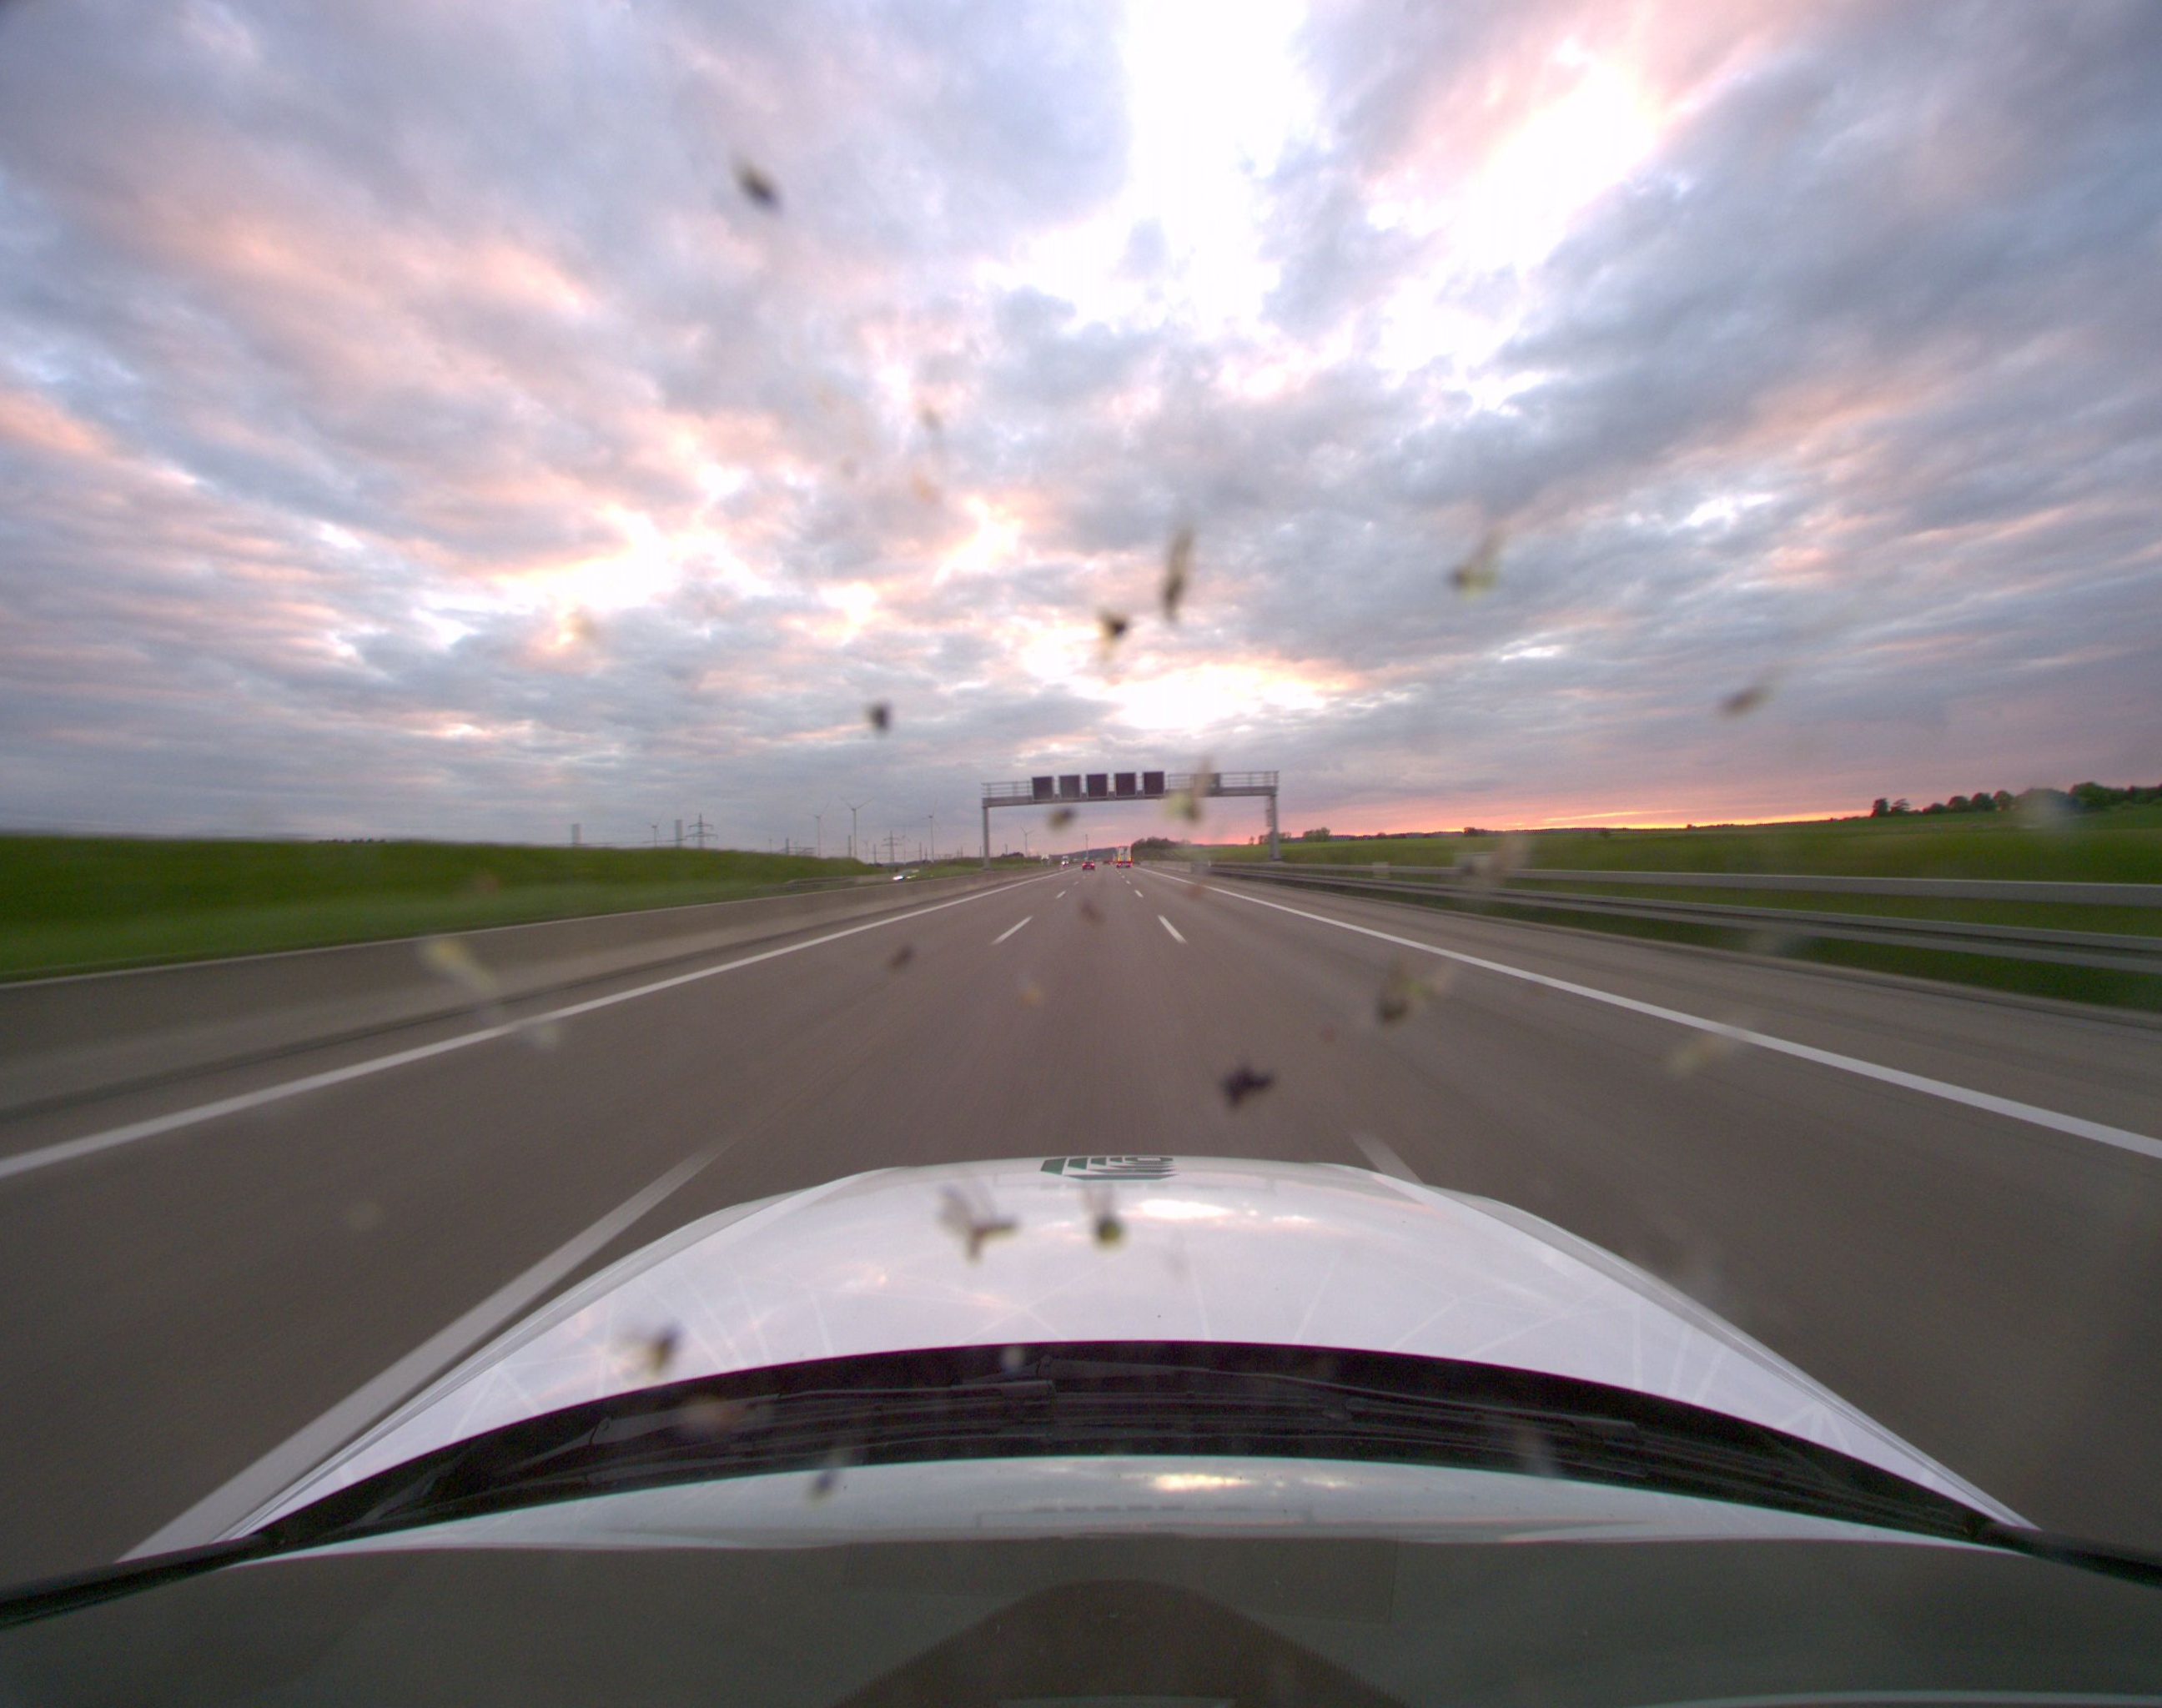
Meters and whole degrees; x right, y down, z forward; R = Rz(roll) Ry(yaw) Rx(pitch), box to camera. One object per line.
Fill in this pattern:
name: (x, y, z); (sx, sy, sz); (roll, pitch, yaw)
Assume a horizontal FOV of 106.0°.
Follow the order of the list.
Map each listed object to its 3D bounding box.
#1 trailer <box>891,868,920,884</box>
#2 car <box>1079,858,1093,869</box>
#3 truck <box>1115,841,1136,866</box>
trailer: (-17.288, 2.159, 80.276); (1.710, 1.464, 4.003); (-2, 0, 3)
car: (0.770, 1.412, 117.727); (1.981, 1.429, 4.001); (-2, 0, 1)
truck: (8.450, -0.041, 156.673); (3.662, 4.565, 10.984); (-1, 0, 1)
